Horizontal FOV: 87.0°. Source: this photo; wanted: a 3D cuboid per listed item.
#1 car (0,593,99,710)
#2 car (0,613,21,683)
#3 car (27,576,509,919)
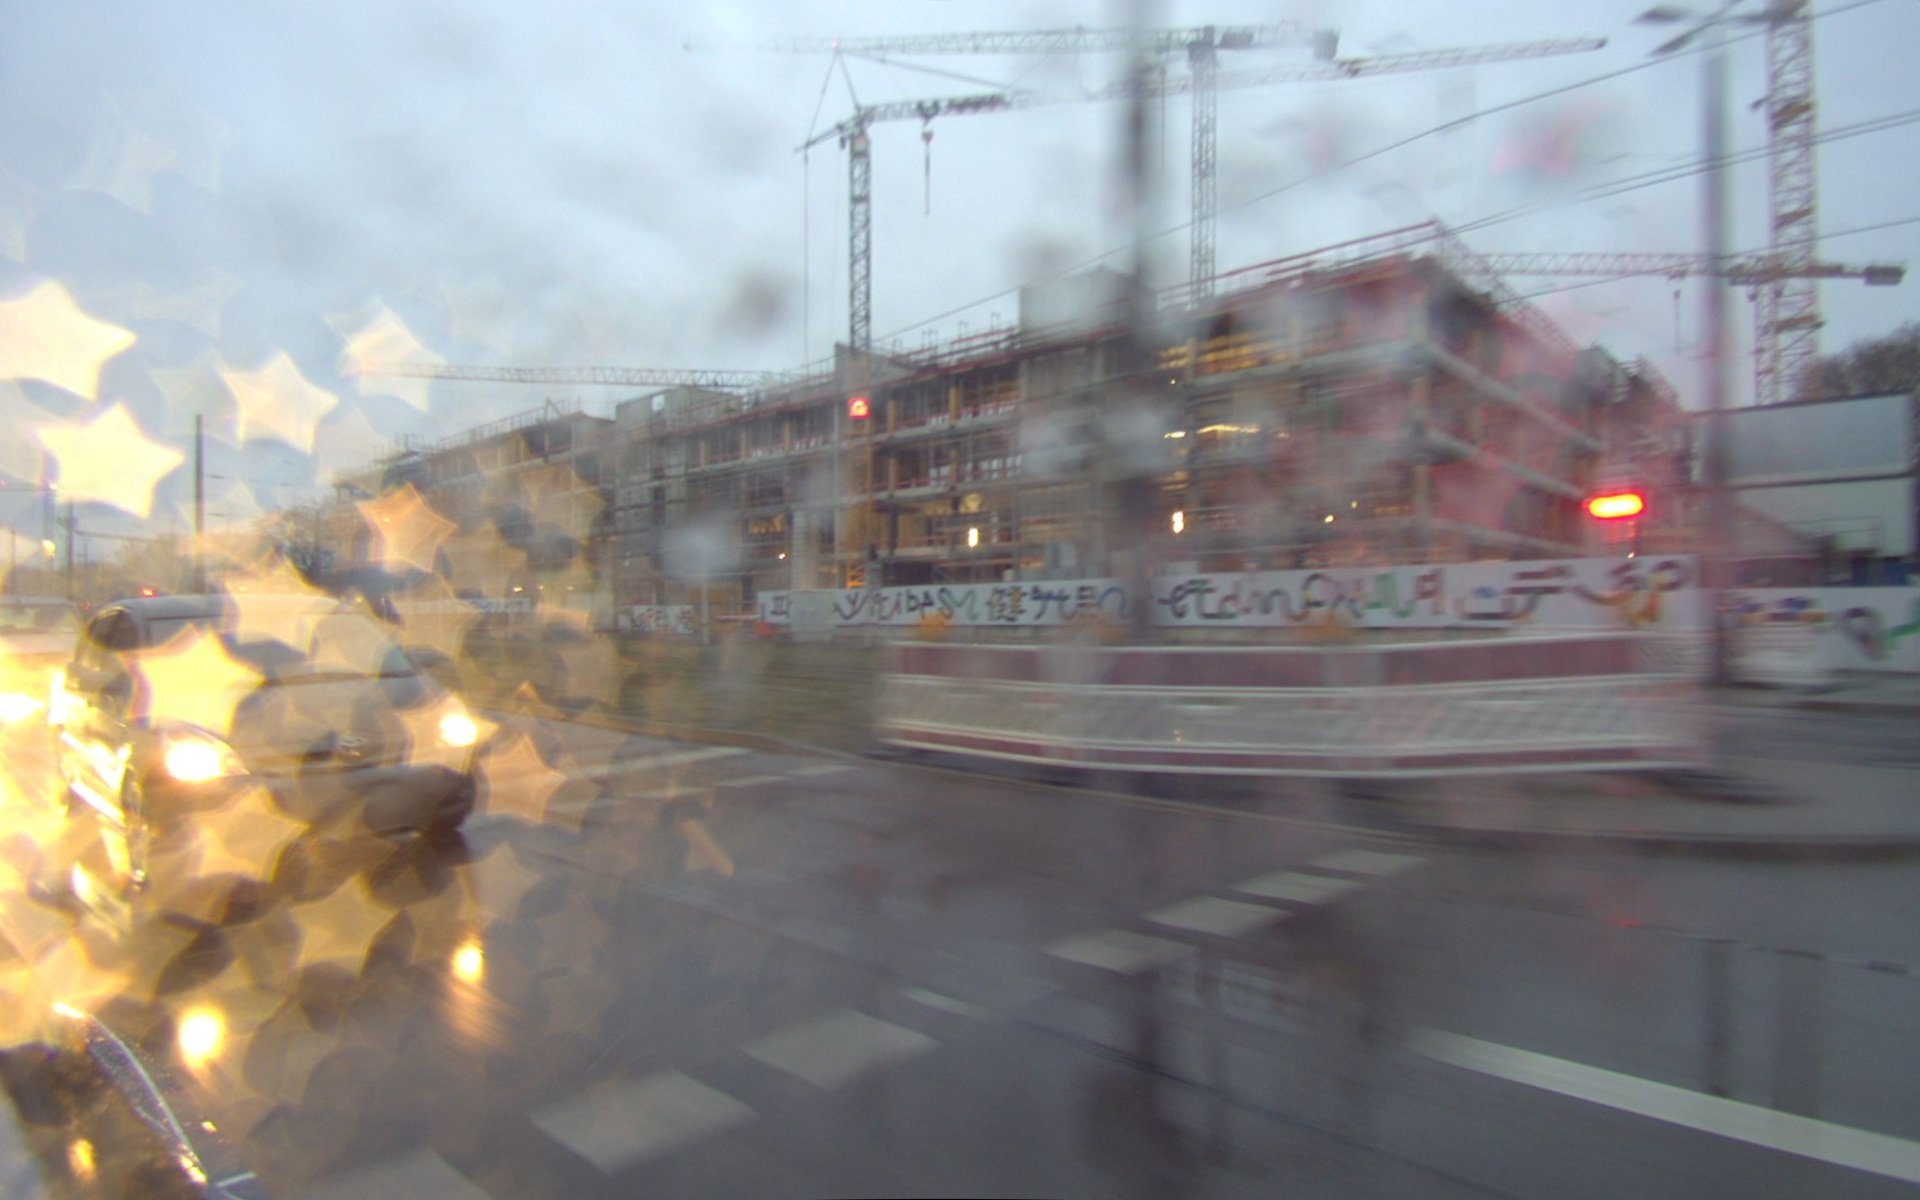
[{"bbox_3d":[-15.796,0.803,16.797,4.000,1.746,1.833,-1,1,43],"label":"car"},{"bbox_3d":[-25.168,1.199,25.445,4.321,1.666,1.821,-1,1,41],"label":"car"},{"bbox_3d":[-4.772,0.695,6.741,3.999,1.606,1.741,-1,1,42],"label":"car"}]
